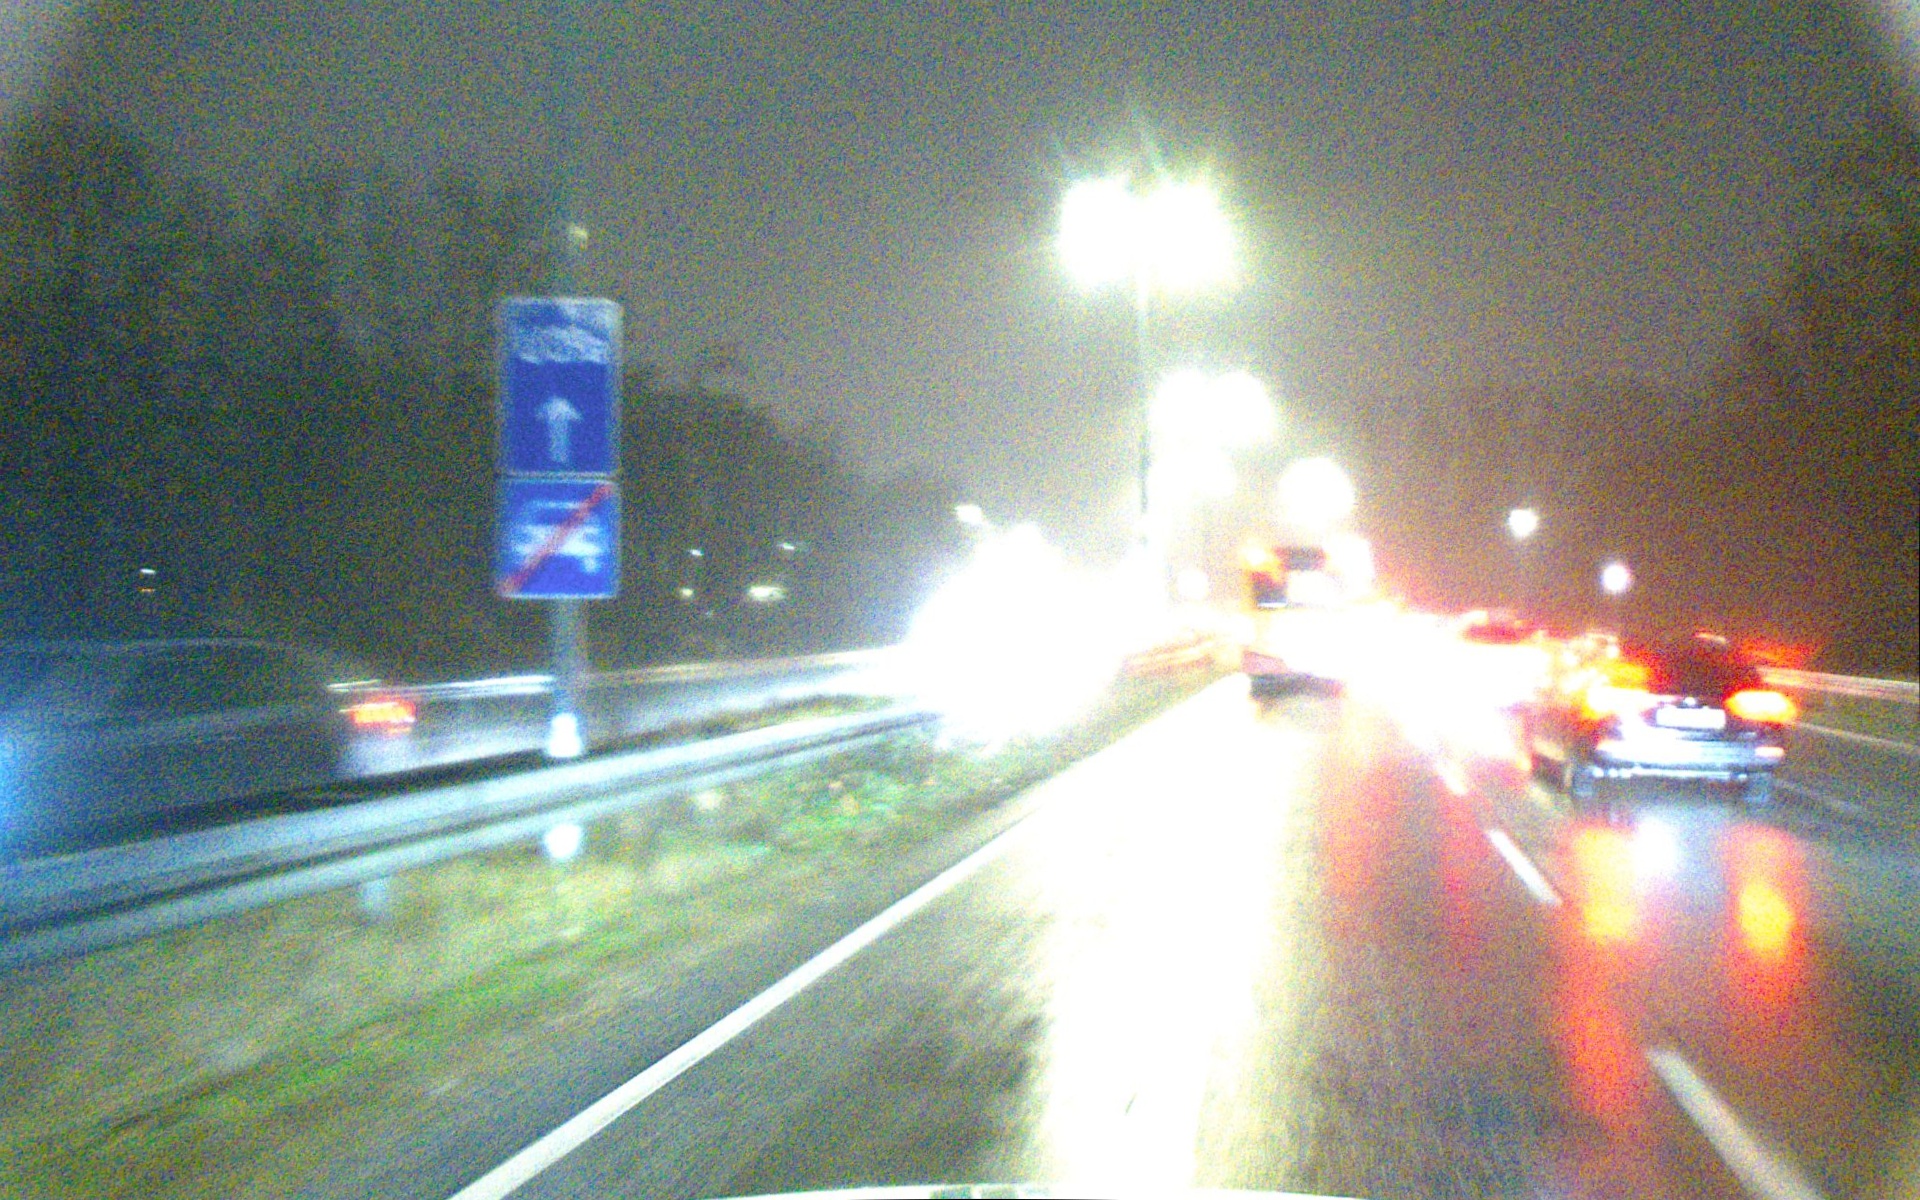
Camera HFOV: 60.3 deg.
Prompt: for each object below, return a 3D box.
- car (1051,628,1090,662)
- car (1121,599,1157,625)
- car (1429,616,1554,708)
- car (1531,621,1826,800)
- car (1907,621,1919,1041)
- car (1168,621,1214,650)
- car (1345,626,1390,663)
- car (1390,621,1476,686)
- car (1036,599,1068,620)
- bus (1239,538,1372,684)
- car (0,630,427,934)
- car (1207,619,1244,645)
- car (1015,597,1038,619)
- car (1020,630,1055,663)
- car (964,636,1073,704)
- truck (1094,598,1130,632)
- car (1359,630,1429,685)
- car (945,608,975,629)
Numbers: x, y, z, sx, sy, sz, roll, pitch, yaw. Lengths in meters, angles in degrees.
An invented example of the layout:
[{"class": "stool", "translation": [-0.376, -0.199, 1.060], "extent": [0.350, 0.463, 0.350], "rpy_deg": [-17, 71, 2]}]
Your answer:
[{"class": "car", "translation": [5.750, 2.304, 85.730], "extent": [1.585, 1.680, 4.003], "rpy_deg": [-2, -1, 10]}, {"class": "car", "translation": [14.497, 0.978, 134.417], "extent": [1.956, 2.049, 3.992], "rpy_deg": [1, -1, -8]}, {"class": "car", "translation": [9.970, 1.119, 31.284], "extent": [1.702, 1.592, 3.780], "rpy_deg": [1, 0, 9]}, {"class": "car", "translation": [6.931, 0.964, 16.463], "extent": [1.694, 1.474, 4.728], "rpy_deg": [1, -1, 11]}, {"class": "car", "translation": [3.848, 0.808, 3.651], "extent": [1.783, 1.510, 4.571], "rpy_deg": [0, -1, 13]}, {"class": "car", "translation": [16.768, 2.530, 120.150], "extent": [2.172, 2.049, 3.989], "rpy_deg": [0, -1, -11]}, {"class": "car", "translation": [18.398, 1.998, 74.740], "extent": [1.741, 1.570, 3.878], "rpy_deg": [1, -1, 11]}, {"class": "car", "translation": [12.523, 1.386, 43.975], "extent": [1.781, 1.618, 3.780], "rpy_deg": [-1, -1, 9]}, {"class": "car", "translation": [8.223, 0.876, 148.783], "extent": [1.957, 1.715, 3.991], "rpy_deg": [3, 1, -10]}, {"class": "bus", "translation": [8.157, 0.262, 39.423], "extent": [2.755, 3.077, 8.694], "rpy_deg": [0, -1, 11]}, {"class": "car", "translation": [-5.032, 0.900, 9.470], "extent": [1.576, 1.406, 4.750], "rpy_deg": [0, -1, 13]}, {"class": "car", "translation": [17.644, 2.113, 110.056], "extent": [1.716, 1.659, 3.621], "rpy_deg": [1, -1, -3]}, {"class": "car", "translation": [6.616, 0.827, 164.369], "extent": [2.078, 2.049, 3.999], "rpy_deg": [1, -1, 0]}, {"class": "car", "translation": [4.913, 2.919, 104.444], "extent": [1.951, 2.049, 4.002], "rpy_deg": [1, -1, 6]}, {"class": "car", "translation": [1.489, 1.656, 40.171], "extent": [1.816, 1.502, 4.782], "rpy_deg": [-1, -1, 12]}, {"class": "truck", "translation": [11.955, 1.143, 130.195], "extent": [1.820, 2.434, 4.772], "rpy_deg": [-2, 2, -7]}, {"class": "car", "translation": [13.644, 1.794, 52.127], "extent": [1.781, 1.618, 3.780], "rpy_deg": [-1, -1, 9]}, {"class": "car", "translation": [-0.008, 1.839, 167.194], "extent": [1.963, 2.049, 3.979], "rpy_deg": [2, -1, -18]}]
